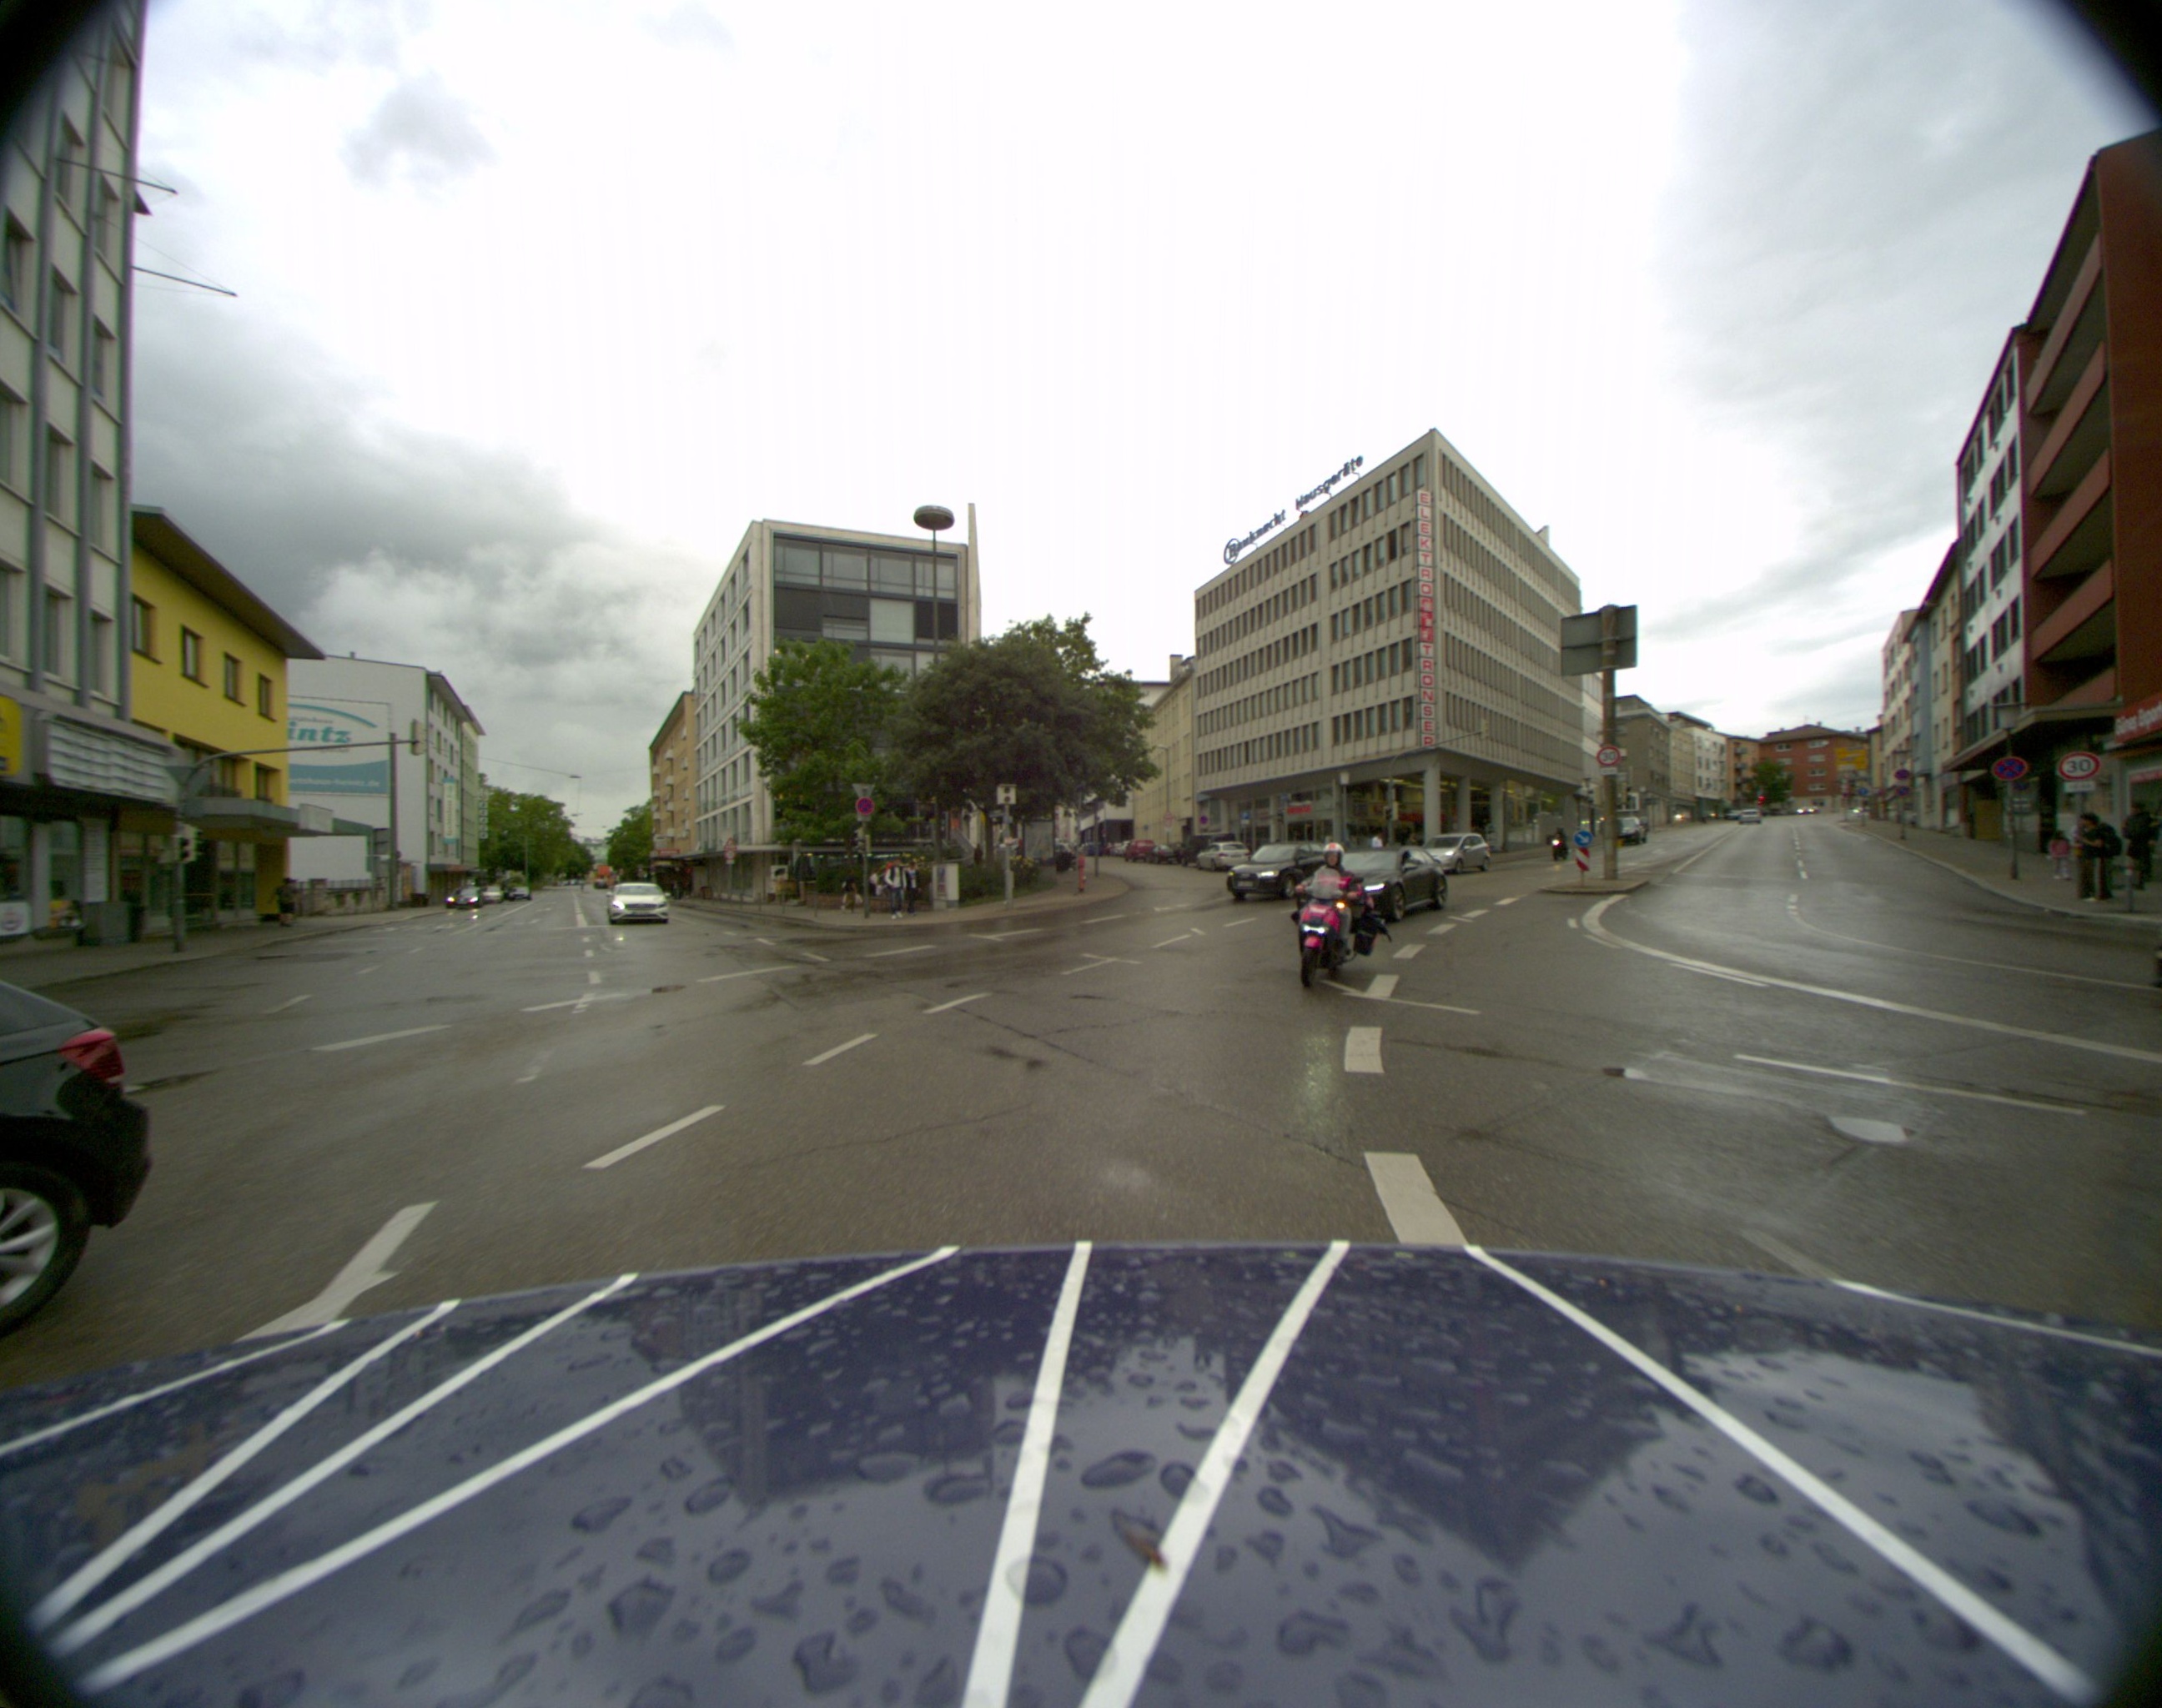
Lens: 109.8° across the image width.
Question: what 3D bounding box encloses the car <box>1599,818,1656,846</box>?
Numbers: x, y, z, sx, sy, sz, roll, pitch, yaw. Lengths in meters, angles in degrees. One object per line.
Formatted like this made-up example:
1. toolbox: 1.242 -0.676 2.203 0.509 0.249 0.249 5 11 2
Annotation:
1. car: 34.104 -1.378 47.382 4.007 1.674 1.994 -3 2 -42

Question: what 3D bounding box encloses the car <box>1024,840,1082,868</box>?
1. car: -1.778 -0.026 47.872 3.545 1.550 1.739 -3 2 -4

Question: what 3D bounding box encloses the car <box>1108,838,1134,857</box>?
1. car: 4.353 -0.695 84.215 2.027 1.982 4.425 -3 0 -8

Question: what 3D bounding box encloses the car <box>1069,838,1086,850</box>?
1. car: -0.564 -1.489 113.246 2.027 1.639 4.425 -3 0 -8

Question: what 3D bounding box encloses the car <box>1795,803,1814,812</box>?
1. car: 120.338 -7.750 126.402 3.863 1.428 1.824 -3 1 -40

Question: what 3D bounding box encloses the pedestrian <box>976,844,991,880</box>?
1. pedestrian: -4.966 0.407 38.739 0.593 1.803 0.704 -3 0 -4

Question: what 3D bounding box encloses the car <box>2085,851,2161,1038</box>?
1. car: 10.126 0.740 4.686 1.999 1.543 4.377 -3 0 -2

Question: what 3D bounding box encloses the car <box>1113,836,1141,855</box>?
1. car: 4.773 -0.848 79.282 2.027 1.891 4.425 -3 0 -8

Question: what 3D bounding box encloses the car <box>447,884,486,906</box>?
1. car: -43.673 2.886 54.045 1.789 1.445 3.990 -3 0 -35

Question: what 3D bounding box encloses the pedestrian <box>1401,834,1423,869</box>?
1. pedestrian: 15.634 -0.123 35.870 0.715 1.613 0.723 -1 1 -3

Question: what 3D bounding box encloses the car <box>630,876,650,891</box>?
1. car: -50.108 3.287 86.246 1.831 1.565 3.991 -3 1 -31

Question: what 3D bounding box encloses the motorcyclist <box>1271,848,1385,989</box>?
1. motorcyclist: 3.072 0.749 9.419 1.090 1.595 0.955 -1 1 34

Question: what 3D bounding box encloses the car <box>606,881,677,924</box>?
1. car: -15.868 1.678 27.331 1.978 1.379 3.990 1 -2 -33

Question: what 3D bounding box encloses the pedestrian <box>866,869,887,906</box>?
1. pedestrian: -8.666 1.416 32.162 0.637 1.523 0.592 -3 0 -30

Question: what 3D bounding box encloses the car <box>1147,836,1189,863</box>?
1. car: 6.125 -0.307 54.084 2.027 1.739 4.612 -3 0 -5

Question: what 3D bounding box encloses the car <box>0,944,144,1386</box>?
1. car: -4.600 1.085 1.003 1.741 1.422 3.881 -2 0 5

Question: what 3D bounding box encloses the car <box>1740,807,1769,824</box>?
1. car: 73.795 -4.255 83.288 4.007 1.728 1.995 -3 1 -43

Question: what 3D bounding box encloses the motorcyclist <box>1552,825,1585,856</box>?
1. motorcyclist: 22.919 -0.618 35.751 1.116 1.434 0.909 -2 1 -31

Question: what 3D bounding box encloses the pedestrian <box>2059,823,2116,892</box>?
1. pedestrian: 24.391 0.080 18.432 0.692 1.620 0.734 -2 1 42

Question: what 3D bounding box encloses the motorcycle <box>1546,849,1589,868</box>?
1. motorcycle: 22.892 0.202 35.748 2.399 0.837 0.710 -2 1 -30

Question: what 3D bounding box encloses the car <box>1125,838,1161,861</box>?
1. car: 4.904 -0.368 60.995 1.934 1.662 4.442 -3 0 -8

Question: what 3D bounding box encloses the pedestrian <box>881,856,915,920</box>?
1. pedestrian: -5.633 1.034 23.340 0.593 1.864 0.787 -8 2 -30

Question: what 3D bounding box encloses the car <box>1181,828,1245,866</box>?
1. car: 7.802 -0.389 45.410 2.098 2.079 4.609 -3 0 -13

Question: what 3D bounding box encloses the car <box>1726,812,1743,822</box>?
1. car: 99.476 -5.599 115.690 3.455 1.364 1.626 -3 1 -44

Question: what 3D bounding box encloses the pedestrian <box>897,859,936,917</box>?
1. pedestrian: -5.205 1.064 24.003 0.784 1.740 0.787 -8 2 -30

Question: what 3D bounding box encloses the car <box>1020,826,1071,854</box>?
1. car: -3.024 -1.210 65.331 3.827 2.253 1.988 -2 2 23

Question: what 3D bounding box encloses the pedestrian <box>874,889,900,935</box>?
1. pedestrian: -8.087 2.404 31.670 0.790 1.803 0.592 -3 0 -30

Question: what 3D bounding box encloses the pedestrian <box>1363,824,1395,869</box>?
1. pedestrian: 13.308 -0.340 33.908 0.994 2.002 0.946 -1 1 -6

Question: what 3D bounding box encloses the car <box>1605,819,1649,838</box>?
1. car: 64.079 -2.973 89.196 3.988 2.002 2.004 -1 2 40

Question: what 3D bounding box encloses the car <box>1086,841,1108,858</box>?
1. car: 1.784 -0.469 87.507 2.027 1.830 4.042 -3 0 -6

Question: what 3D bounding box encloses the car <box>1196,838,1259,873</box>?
1. car: 7.551 0.071 39.670 2.002 1.622 4.612 -3 0 -5

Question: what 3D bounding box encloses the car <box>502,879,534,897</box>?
1. car: -57.115 3.414 77.026 2.004 1.610 4.112 -2 1 -45

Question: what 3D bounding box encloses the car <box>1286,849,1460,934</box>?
1. car: 6.504 0.697 16.567 1.994 1.483 4.744 0 1 41

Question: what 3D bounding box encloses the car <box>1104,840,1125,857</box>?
1. car: 3.886 -0.621 88.292 1.749 1.785 3.664 -3 0 -8

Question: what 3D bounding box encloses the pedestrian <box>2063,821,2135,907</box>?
1. pedestrian: 21.255 0.201 15.880 0.731 1.737 0.701 -2 1 40

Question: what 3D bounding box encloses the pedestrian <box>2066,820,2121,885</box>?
1. pedestrian: 25.788 -0.037 19.365 0.692 1.620 0.734 -2 1 42

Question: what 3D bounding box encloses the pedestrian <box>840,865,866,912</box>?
1. pedestrian: -9.057 1.362 30.192 0.790 1.803 0.592 -3 0 -30

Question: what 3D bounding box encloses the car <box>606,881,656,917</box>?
1. car: -21.607 2.109 36.432 1.813 1.490 3.990 -3 1 -33

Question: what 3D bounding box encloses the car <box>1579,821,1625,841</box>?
1. car: 56.044 -2.484 81.791 3.989 1.945 1.750 -1 2 38

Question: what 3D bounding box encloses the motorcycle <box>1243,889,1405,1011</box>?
1. motorcycle: 3.055 1.084 9.376 1.310 1.129 2.189 0 2 35

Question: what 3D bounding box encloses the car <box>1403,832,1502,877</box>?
1. car: 14.700 0.007 30.018 4.111 1.574 1.995 -3 1 -40

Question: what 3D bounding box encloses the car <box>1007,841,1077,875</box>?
1. car: -2.008 0.174 39.666 3.544 1.550 1.739 -3 2 -2

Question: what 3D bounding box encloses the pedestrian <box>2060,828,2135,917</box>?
1. pedestrian: 20.431 0.367 15.291 0.731 1.737 0.744 -2 1 40

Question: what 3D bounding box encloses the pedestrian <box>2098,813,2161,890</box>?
1. pedestrian: 24.762 -0.053 17.915 0.731 1.737 0.696 -6 -2 44

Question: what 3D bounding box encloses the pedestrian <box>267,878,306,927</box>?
1. pedestrian: -27.870 1.674 26.675 0.738 1.636 0.640 -3 2 -32

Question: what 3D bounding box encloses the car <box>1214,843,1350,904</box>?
1. car: 6.013 0.519 22.507 4.111 1.538 1.867 -3 1 -40

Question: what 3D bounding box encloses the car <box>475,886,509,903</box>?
1. car: -54.477 3.732 70.267 2.004 1.445 3.989 -3 0 -44
